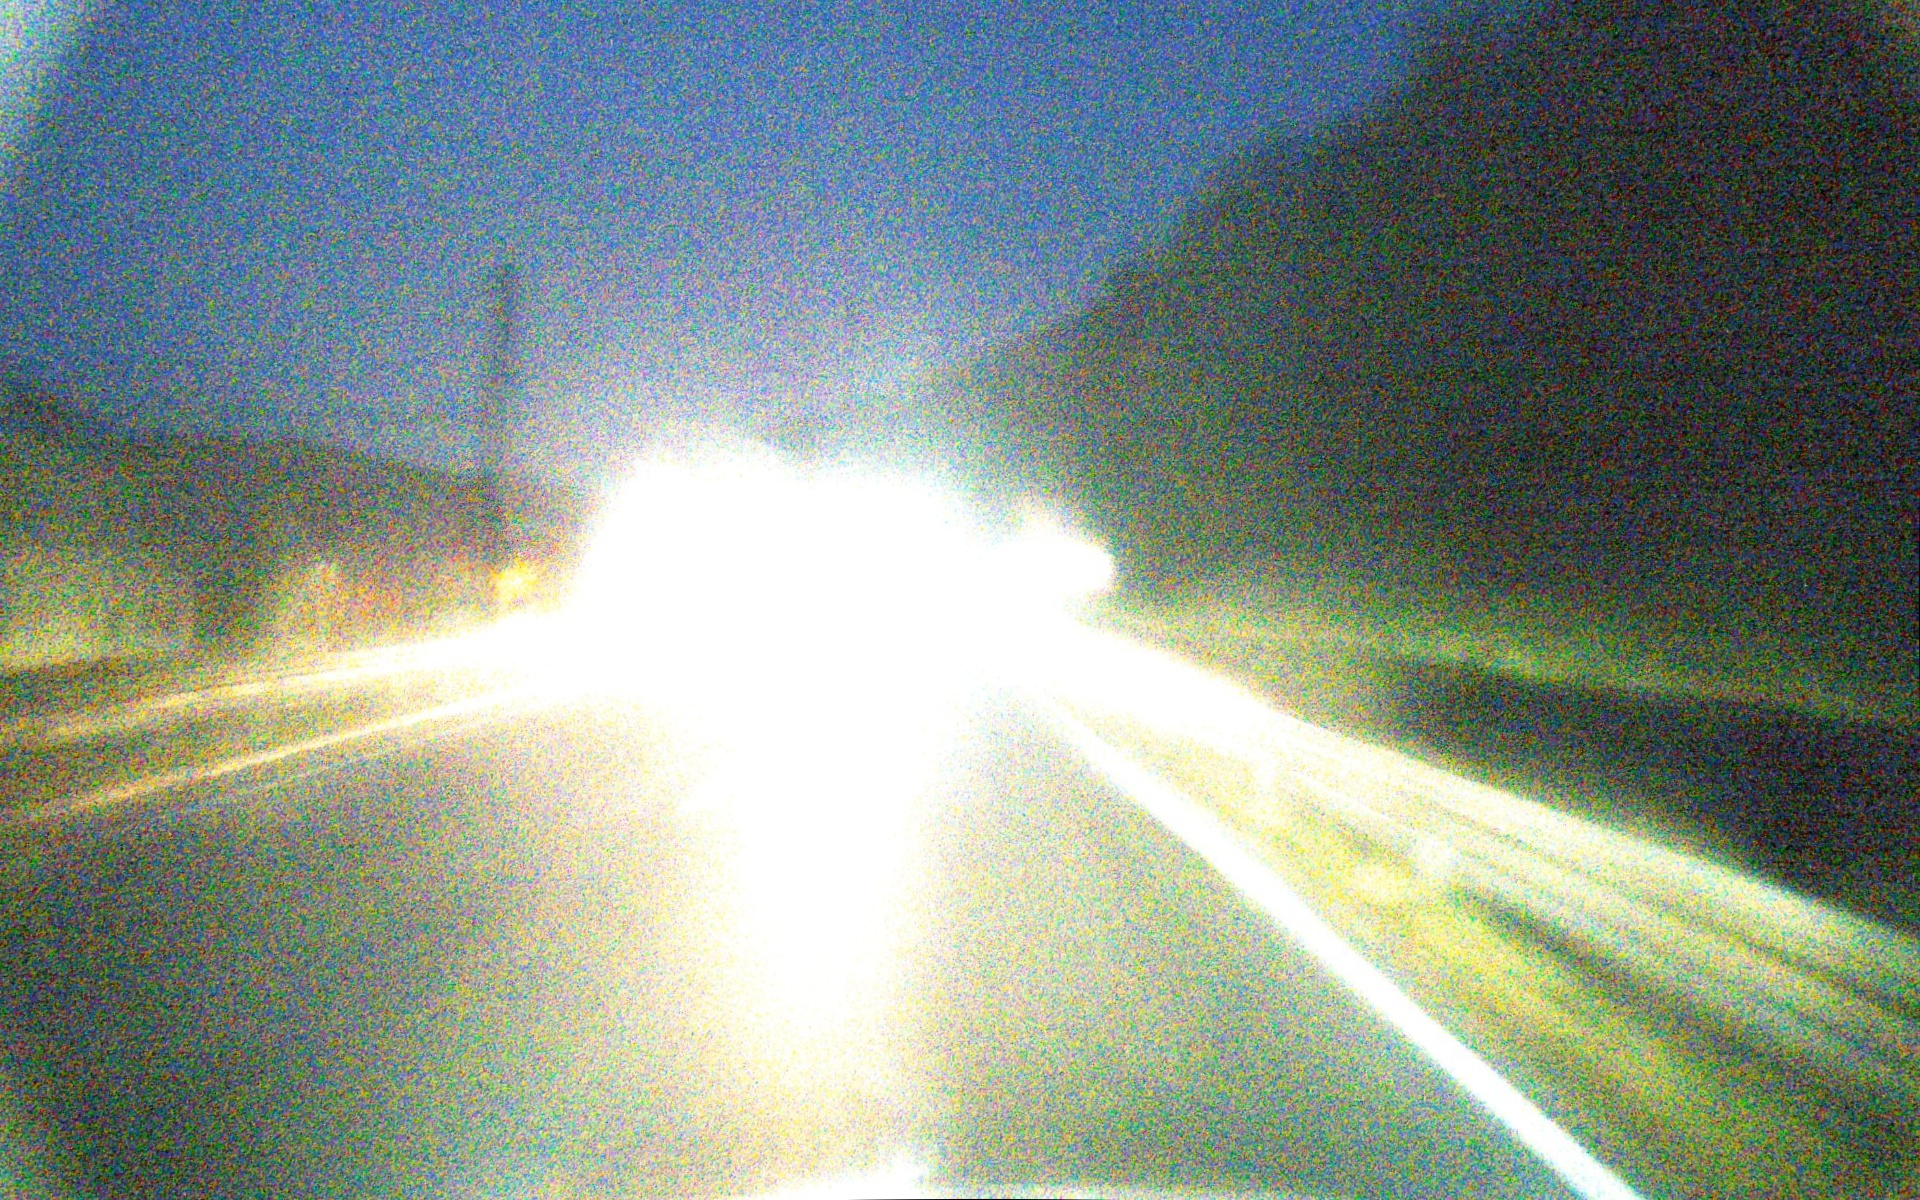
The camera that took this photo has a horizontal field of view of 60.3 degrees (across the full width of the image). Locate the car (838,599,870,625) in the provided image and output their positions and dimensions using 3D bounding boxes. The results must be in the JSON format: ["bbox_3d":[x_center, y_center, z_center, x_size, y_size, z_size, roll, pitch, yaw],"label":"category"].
[{"bbox_3d":[-6.446,0.712,100.821,1.831,1.473,4.391,1,0,-2],"label":"car"}]

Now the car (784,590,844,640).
[{"bbox_3d":[-4.978,0.476,56.822,1.831,1.641,3.845,1,0,-2],"label":"car"}]
